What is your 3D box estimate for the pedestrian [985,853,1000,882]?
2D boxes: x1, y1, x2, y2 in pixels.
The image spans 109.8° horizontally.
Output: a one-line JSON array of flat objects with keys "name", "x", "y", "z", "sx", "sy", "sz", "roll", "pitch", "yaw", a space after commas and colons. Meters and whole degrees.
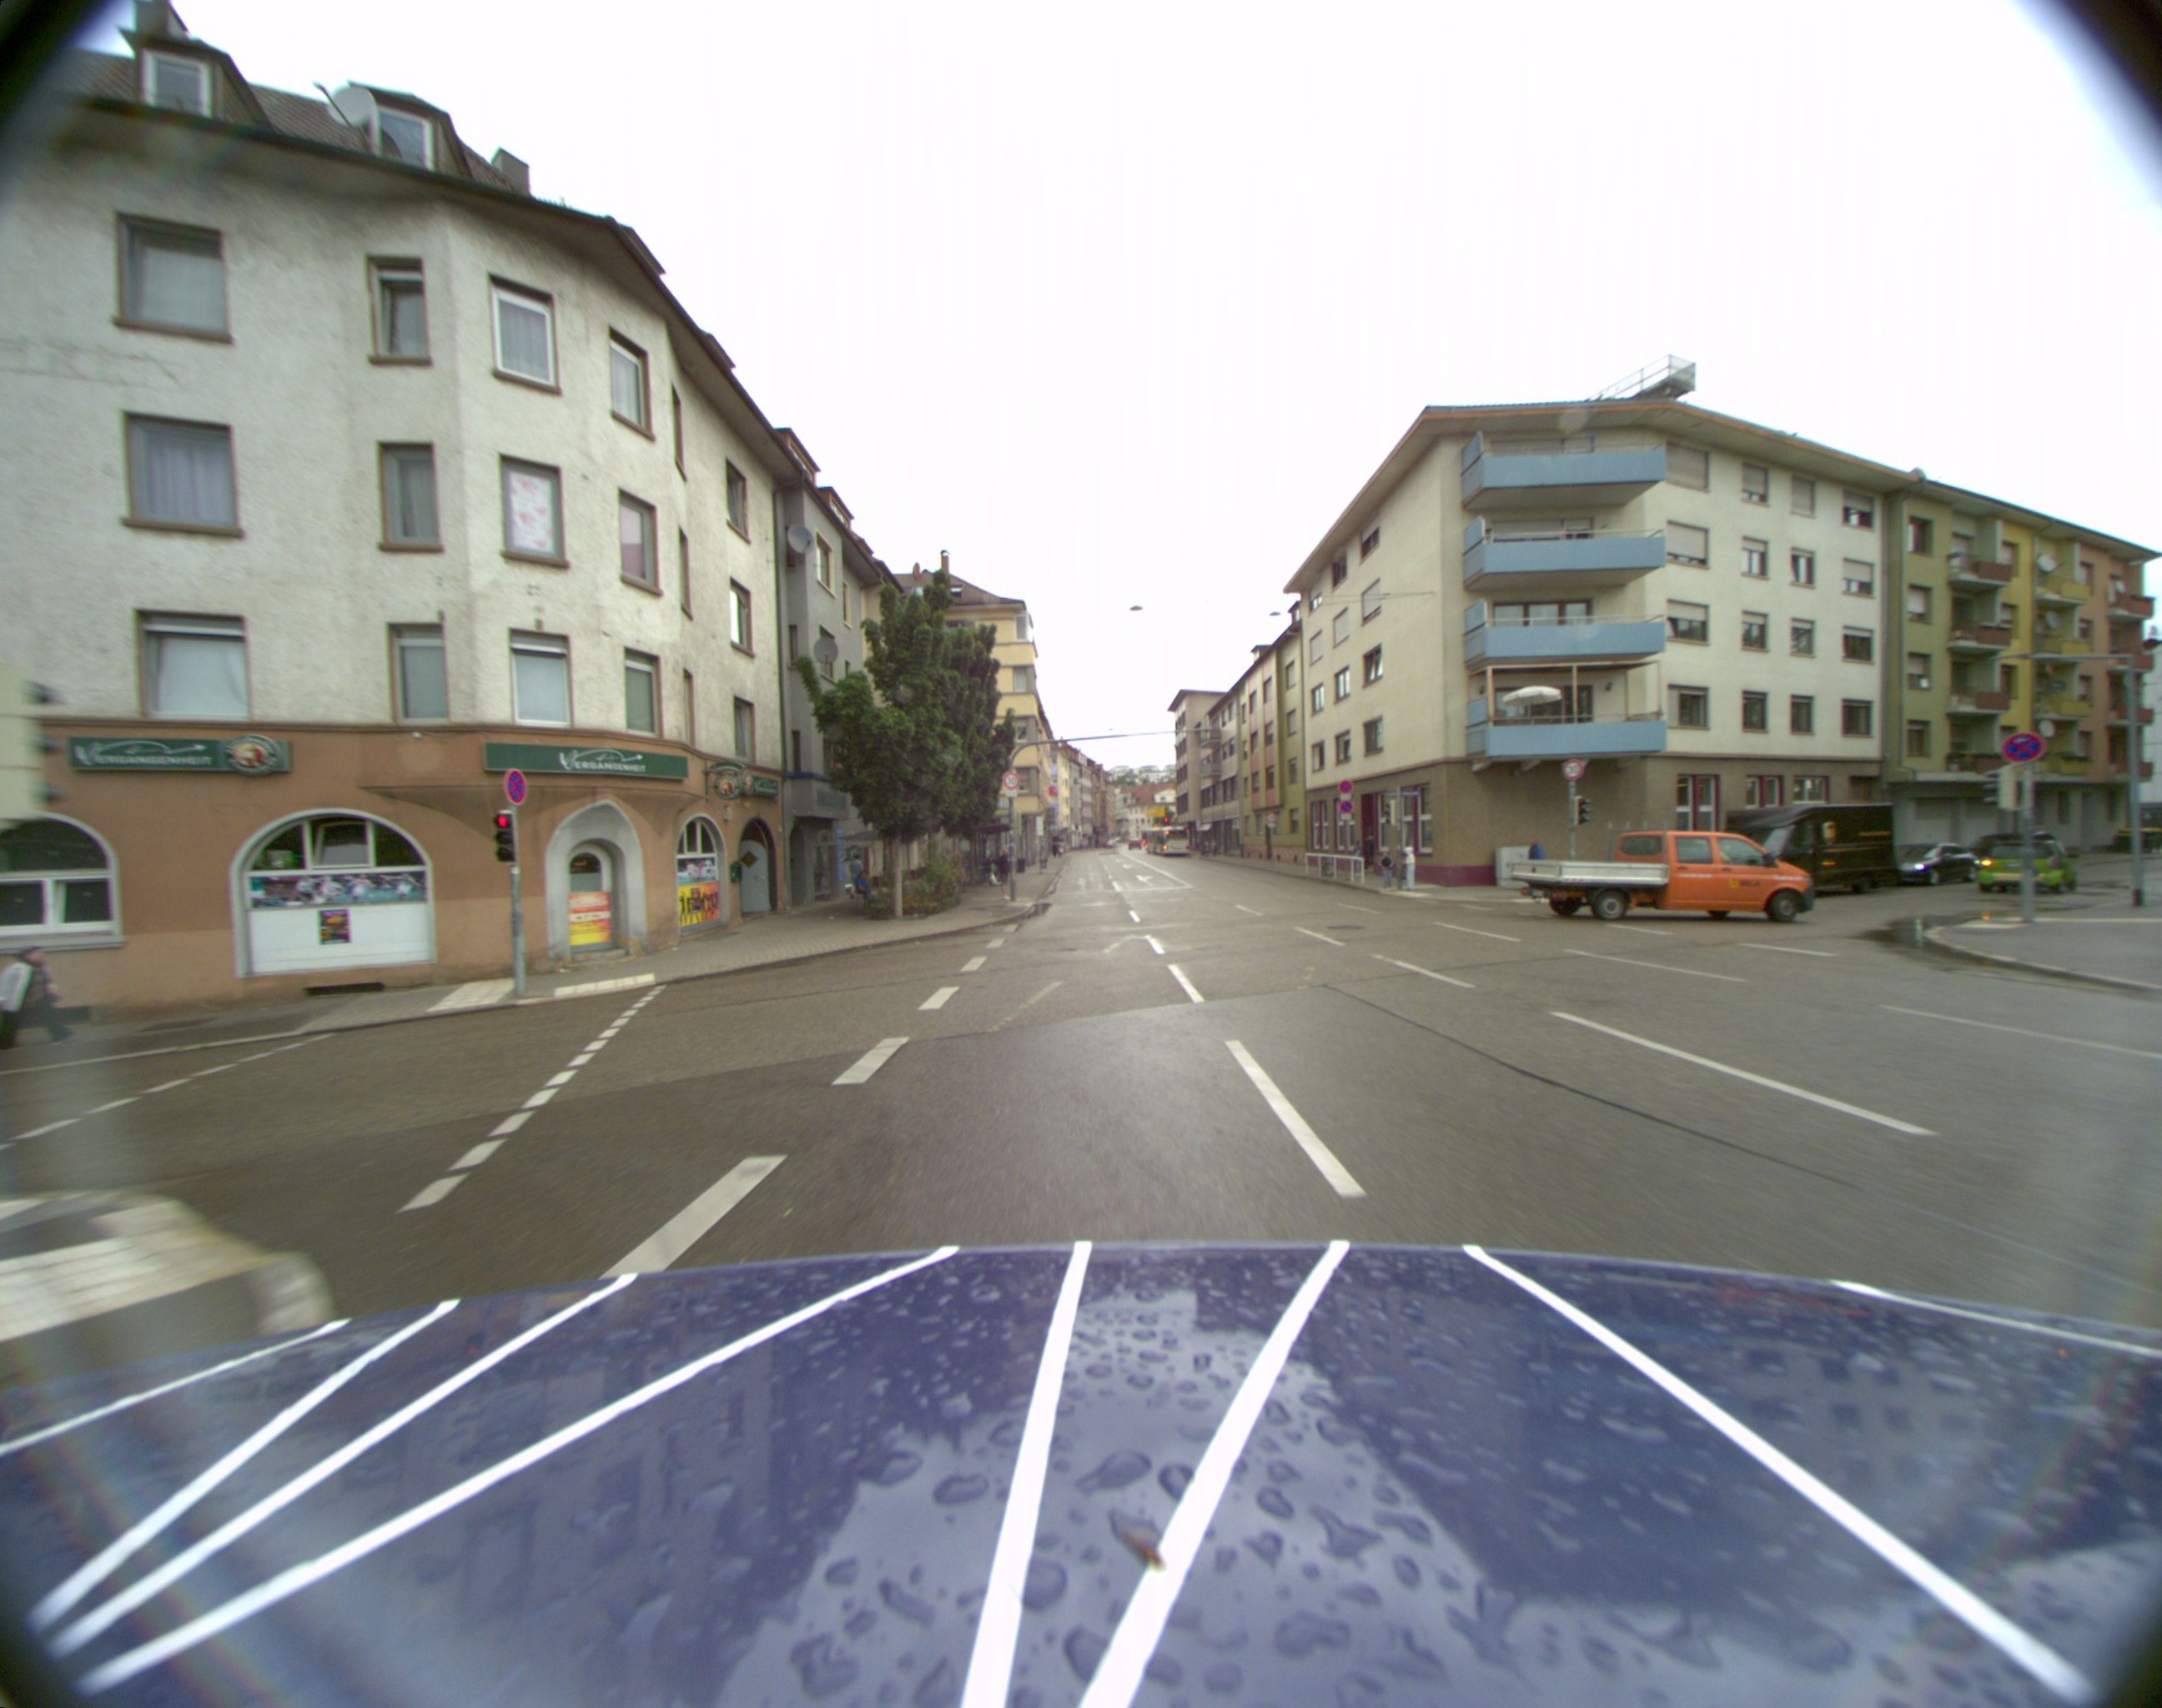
[{"name": "pedestrian", "x": -4.306, "y": 0.661, "z": 37.136, "sx": 0.607, "sy": 1.329, "sz": 0.624, "roll": -2, "pitch": 4, "yaw": -1}]

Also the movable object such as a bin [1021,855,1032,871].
[{"name": "movable object such as a bin", "x": -3.410, "y": 0.536, "z": 47.601, "sx": 0.601, "sy": 0.921, "sz": 0.704, "roll": -2, "pitch": 4, "yaw": 1}]

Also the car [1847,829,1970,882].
[{"name": "car", "x": 28.649, "y": -0.001, "z": 26.307, "sx": 3.707, "sy": 1.491, "sz": 1.865, "roll": -4, "pitch": 5, "yaw": -26}]

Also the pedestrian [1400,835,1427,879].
[{"name": "pedestrian", "x": 11.532, "y": 0.095, "z": 26.399, "sx": 0.644, "sy": 1.450, "sz": 0.660, "roll": -2, "pitch": 4, "yaw": -1}]

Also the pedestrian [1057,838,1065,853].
[{"name": "pedestrian", "x": -2.182, "y": -0.918, "z": 82.860, "sx": 0.780, "sy": 1.552, "sz": 0.782, "roll": -2, "pitch": 4, "yaw": -1}]

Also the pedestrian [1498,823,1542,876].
[{"name": "pedestrian", "x": 15.143, "y": -0.165, "z": 26.220, "sx": 0.932, "sy": 1.744, "sz": 1.021, "roll": -2, "pitch": 4, "yaw": 2}]

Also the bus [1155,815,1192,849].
[{"name": "bus", "x": 9.653, "y": -2.416, "z": 79.951, "sx": 2.732, "sy": 3.172, "sz": 9.286, "roll": -2, "pitch": 4, "yaw": 1}]

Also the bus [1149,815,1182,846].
[{"name": "bus", "x": 9.681, "y": -2.852, "z": 87.875, "sx": 2.765, "sy": 3.172, "sz": 8.905, "roll": -2, "pitch": 4, "yaw": 1}]

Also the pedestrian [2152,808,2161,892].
[{"name": "pedestrian", "x": 23.746, "y": -0.082, "z": 16.131, "sx": 1.073, "sy": 1.748, "sz": 1.060, "roll": -5, "pitch": 5, "yaw": -34}]

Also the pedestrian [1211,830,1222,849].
[{"name": "pedestrian", "x": 12.435, "y": -1.328, "z": 69.614, "sx": 0.839, "sy": 1.606, "sz": 0.710, "roll": -2, "pitch": 4, "yaw": 0}]

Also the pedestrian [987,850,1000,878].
[{"name": "pedestrian", "x": -4.379, "y": 0.493, "z": 38.016, "sx": 0.535, "sy": 1.343, "sz": 0.595, "roll": -2, "pitch": 4, "yaw": -1}]

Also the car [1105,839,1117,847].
[{"name": "car", "x": 5.811, "y": -2.094, "z": 148.031, "sx": 1.747, "sy": 1.362, "sz": 4.315, "roll": -1, "pitch": 3, "yaw": 9}]

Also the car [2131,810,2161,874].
[{"name": "car", "x": 37.393, "y": -0.442, "z": 25.306, "sx": 4.004, "sy": 2.003, "sz": 1.995, "roll": -4, "pitch": 5, "yaw": -24}]

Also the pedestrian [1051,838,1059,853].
[{"name": "pedestrian", "x": -2.802, "y": -0.910, "z": 82.843, "sx": 0.770, "sy": 1.552, "sz": 0.875, "roll": -2, "pitch": 4, "yaw": -1}]

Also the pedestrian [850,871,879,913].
[{"name": "pedestrian", "x": -6.551, "y": 1.139, "z": 23.000, "sx": 0.666, "sy": 1.183, "sz": 0.556, "roll": -2, "pitch": 4, "yaw": -1}]

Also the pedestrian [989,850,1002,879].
[{"name": "pedestrian", "x": -4.379, "y": 0.535, "z": 38.743, "sx": 0.565, "sy": 1.389, "sz": 0.513, "roll": -2, "pitch": 4, "yaw": -2}]

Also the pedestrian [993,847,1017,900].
[{"name": "pedestrian", "x": -2.705, "y": 0.691, "z": 27.130, "sx": 0.735, "sy": 1.832, "sz": 0.630, "roll": -2, "pitch": 4, "yaw": -1}]

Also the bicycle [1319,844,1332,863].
[{"name": "bicycle", "x": 11.369, "y": -0.040, "z": 35.306, "sx": 0.265, "sy": 0.779, "sz": 1.110, "roll": -2, "pitch": 4, "yaw": 1}]

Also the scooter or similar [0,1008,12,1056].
[{"name": "scooter or similar", "x": -15.720, "y": 2.600, "z": 10.672, "sx": 0.507, "sy": 0.664, "sz": 0.549, "roll": -7, "pitch": 6, "yaw": -20}]

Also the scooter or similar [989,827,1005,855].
[{"name": "scooter or similar", "x": -3.860, "y": -0.610, "z": 34.878, "sx": 0.512, "sy": 1.166, "sz": 1.548, "roll": -2, "pitch": 4, "yaw": 1}]

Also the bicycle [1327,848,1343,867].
[{"name": "bicycle", "x": 11.720, "y": 0.161, "z": 35.126, "sx": 0.265, "sy": 0.779, "sz": 1.421, "roll": -2, "pitch": 4, "yaw": 1}]

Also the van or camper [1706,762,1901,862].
[{"name": "van or camper", "x": 22.142, "y": -1.365, "z": 23.243, "sx": 6.490, "sy": 2.716, "sz": 1.995, "roll": -4, "pitch": 5, "yaw": -25}]

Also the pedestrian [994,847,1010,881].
[{"name": "pedestrian", "x": -4.124, "y": 0.523, "z": 39.674, "sx": 0.620, "sy": 1.690, "sz": 0.656, "roll": -2, "pitch": 4, "yaw": 5}]

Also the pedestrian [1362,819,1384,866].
[{"name": "pedestrian", "x": 13.336, "y": -0.556, "z": 34.714, "sx": 0.713, "sy": 2.089, "sz": 0.729, "roll": -2, "pitch": 4, "yaw": -2}]

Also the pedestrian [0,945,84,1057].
[{"name": "pedestrian", "x": -15.254, "y": 2.118, "z": 10.963, "sx": 0.701, "sy": 1.448, "sz": 0.627, "roll": -4, "pitch": 5, "yaw": -21}]

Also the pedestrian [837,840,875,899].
[{"name": "pedestrian", "x": -8.114, "y": 0.535, "z": 27.462, "sx": 0.899, "sy": 2.003, "sz": 1.199, "roll": -2, "pitch": 4, "yaw": 0}]

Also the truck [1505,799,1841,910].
[{"name": "truck", "x": 12.620, "y": -0.054, "z": 16.645, "sx": 5.308, "sy": 2.118, "sz": 2.407, "roll": -2, "pitch": 4, "yaw": 6}]

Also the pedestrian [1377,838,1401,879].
[{"name": "pedestrian", "x": 11.193, "y": 0.167, "z": 27.605, "sx": 0.546, "sy": 1.381, "sz": 0.649, "roll": -6, "pitch": 5, "yaw": 3}]

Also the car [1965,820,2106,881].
[{"name": "car", "x": 28.574, "y": -0.160, "z": 22.747, "sx": 4.005, "sy": 1.509, "sz": 1.820, "roll": -4, "pitch": 5, "yaw": -27}]

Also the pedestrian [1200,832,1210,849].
[{"name": "pedestrian", "x": 11.453, "y": -1.257, "z": 70.123, "sx": 0.801, "sy": 1.527, "sz": 0.710, "roll": -2, "pitch": 4, "yaw": 0}]

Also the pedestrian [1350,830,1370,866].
[{"name": "pedestrian", "x": 12.340, "y": -0.272, "z": 33.634, "sx": 0.576, "sy": 1.545, "sz": 0.739, "roll": -2, "pitch": 4, "yaw": -2}]

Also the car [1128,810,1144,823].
[{"name": "car", "x": 8.472, "y": -5.796, "z": 116.899, "sx": 1.936, "sy": 1.748, "sz": 4.569, "roll": -2, "pitch": 4, "yaw": -1}]
